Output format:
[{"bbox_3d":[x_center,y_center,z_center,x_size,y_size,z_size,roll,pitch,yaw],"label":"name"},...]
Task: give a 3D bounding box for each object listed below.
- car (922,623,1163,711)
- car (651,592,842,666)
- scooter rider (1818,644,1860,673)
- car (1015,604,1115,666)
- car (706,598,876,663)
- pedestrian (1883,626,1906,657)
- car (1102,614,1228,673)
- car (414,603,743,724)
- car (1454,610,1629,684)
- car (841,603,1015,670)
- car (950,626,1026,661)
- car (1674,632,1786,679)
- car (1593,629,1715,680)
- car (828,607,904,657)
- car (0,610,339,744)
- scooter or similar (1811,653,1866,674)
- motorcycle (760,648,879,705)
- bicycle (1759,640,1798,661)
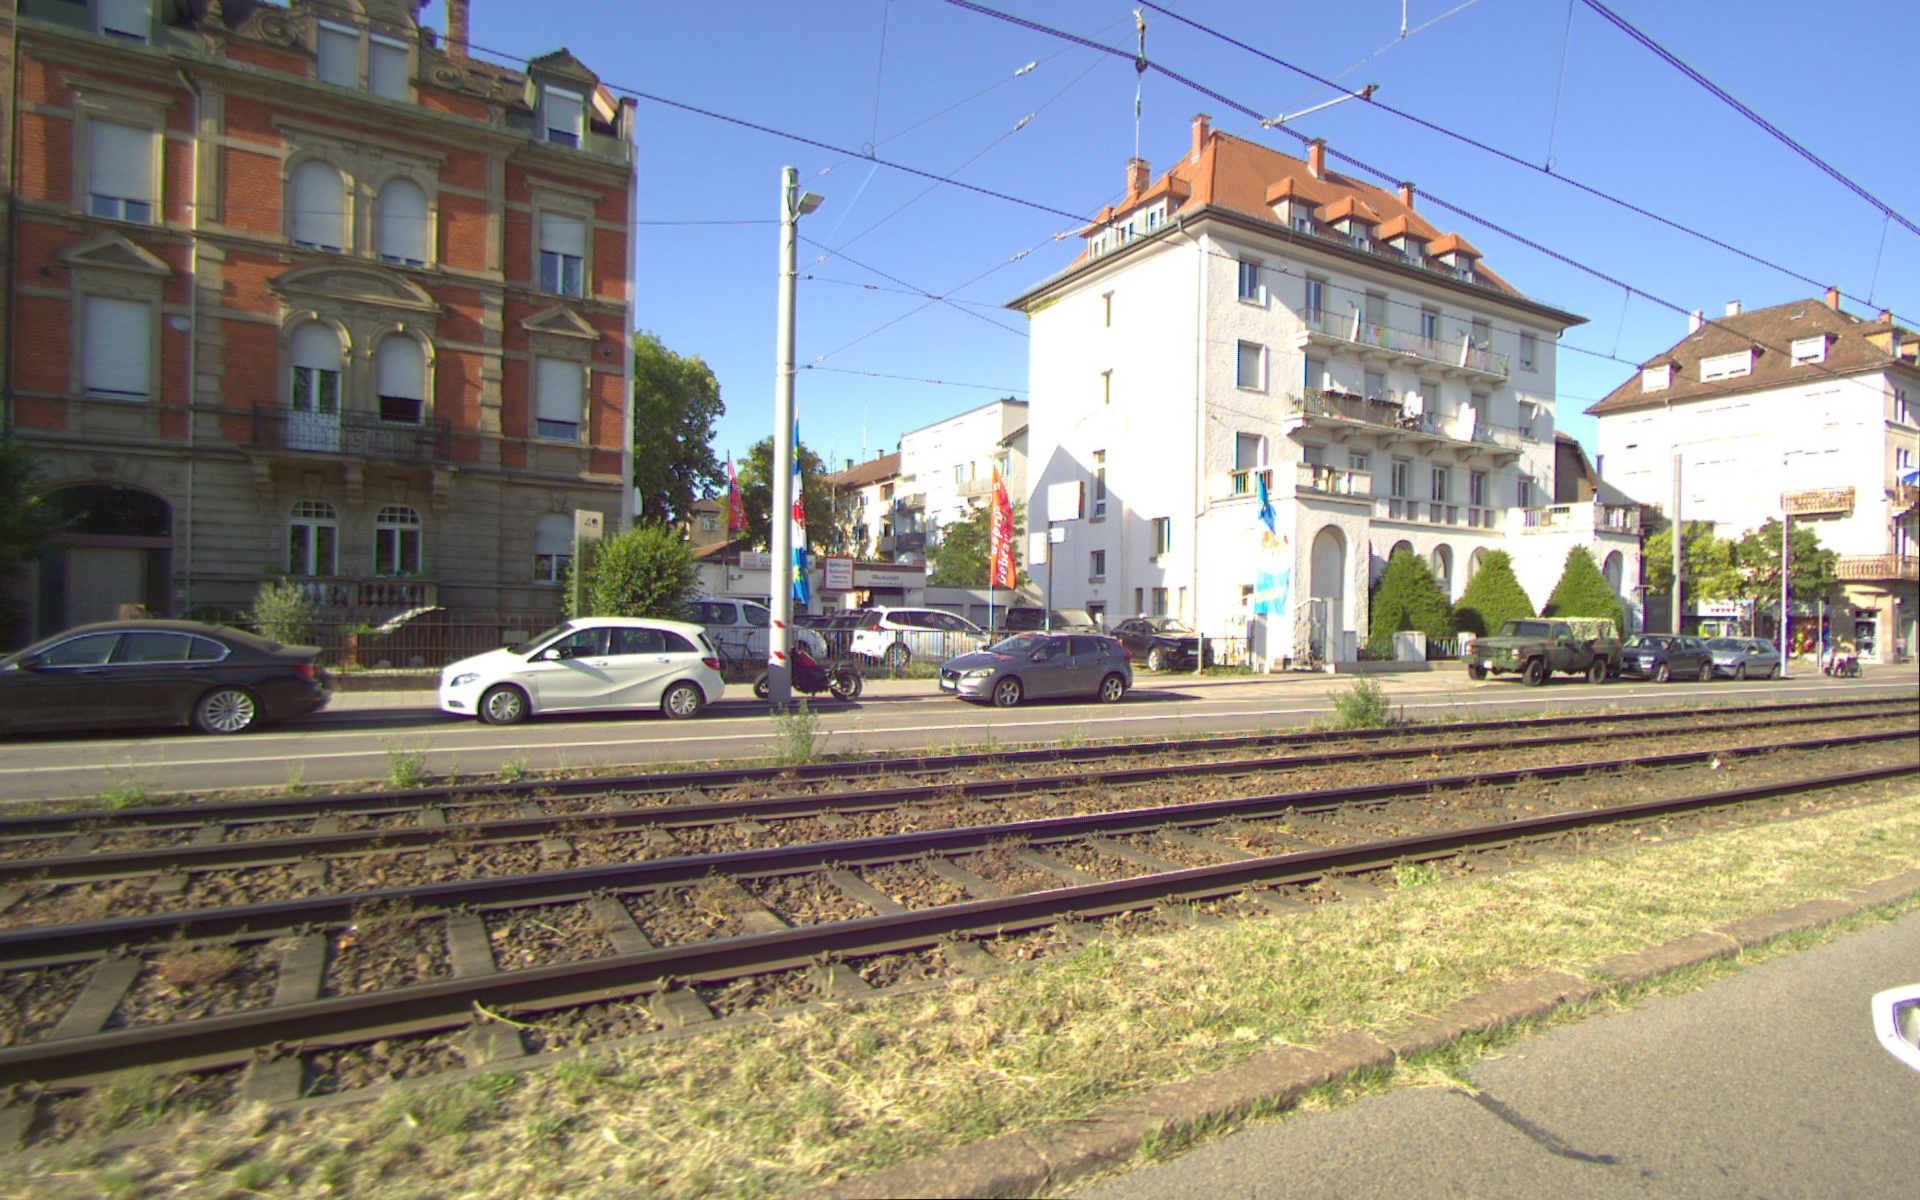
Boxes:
[{"bbox_3d":[1.784,1.333,21.076,4.787,1.480,1.910,1,4,-32],"label":"car"},{"bbox_3d":[-5.532,0.787,26.118,4.503,1.677,1.898,3,-3,-26],"label":"car"},{"bbox_3d":[34.520,2.299,39.447,0.792,1.103,0.979,0,-1,2],"label":"scooter rider"},{"bbox_3d":[3.619,1.189,35.506,1.958,2.029,4.066,0,-1,-20],"label":"car"},{"bbox_3d":[-4.885,0.908,29.140,4.503,1.677,1.898,3,-3,-26],"label":"car"},{"bbox_3d":[52.072,2.332,55.975,0.943,1.683,0.637,2,1,-28],"label":"pedestrian"},{"bbox_3d":[6.194,1.273,30.868,1.921,1.655,4.123,-1,-1,-20],"label":"car"},{"bbox_3d":[-6.171,0.960,16.430,4.781,1.717,1.913,1,1,-28],"label":"car"},{"bbox_3d":[18.051,1.425,31.111,5.522,2.037,2.068,1,1,-28],"label":"car"},{"bbox_3d":[-0.877,1.047,28.266,4.503,1.677,1.898,3,-3,-26],"label":"car"},{"bbox_3d":[1.255,1.988,46.789,1.779,1.530,3.969,1,-2,-30],"label":"car"},{"bbox_3d":[27.944,2.007,36.442,3.951,1.530,1.786,2,0,-29],"label":"car"},{"bbox_3d":[23.240,1.832,33.601,4.107,1.527,1.628,2,0,-28],"label":"car"},{"bbox_3d":[-3.961,1.343,41.798,1.912,1.910,3.976,2,-3,-25],"label":"car"},{"bbox_3d":[-11.273,0.965,13.606,4.786,1.581,1.911,1,1,-31],"label":"car"},{"bbox_3d":[34.517,2.494,39.485,0.792,0.780,1.570,0,-2,2],"label":"scooter or similar"},{"bbox_3d":[-2.672,1.447,19.030,2.116,0.967,0.826,2,0,-16],"label":"motorcycle"},{"bbox_3d":[42.550,2.607,52.232,2.382,1.029,0.681,1,1,-28],"label":"bicycle"}]
